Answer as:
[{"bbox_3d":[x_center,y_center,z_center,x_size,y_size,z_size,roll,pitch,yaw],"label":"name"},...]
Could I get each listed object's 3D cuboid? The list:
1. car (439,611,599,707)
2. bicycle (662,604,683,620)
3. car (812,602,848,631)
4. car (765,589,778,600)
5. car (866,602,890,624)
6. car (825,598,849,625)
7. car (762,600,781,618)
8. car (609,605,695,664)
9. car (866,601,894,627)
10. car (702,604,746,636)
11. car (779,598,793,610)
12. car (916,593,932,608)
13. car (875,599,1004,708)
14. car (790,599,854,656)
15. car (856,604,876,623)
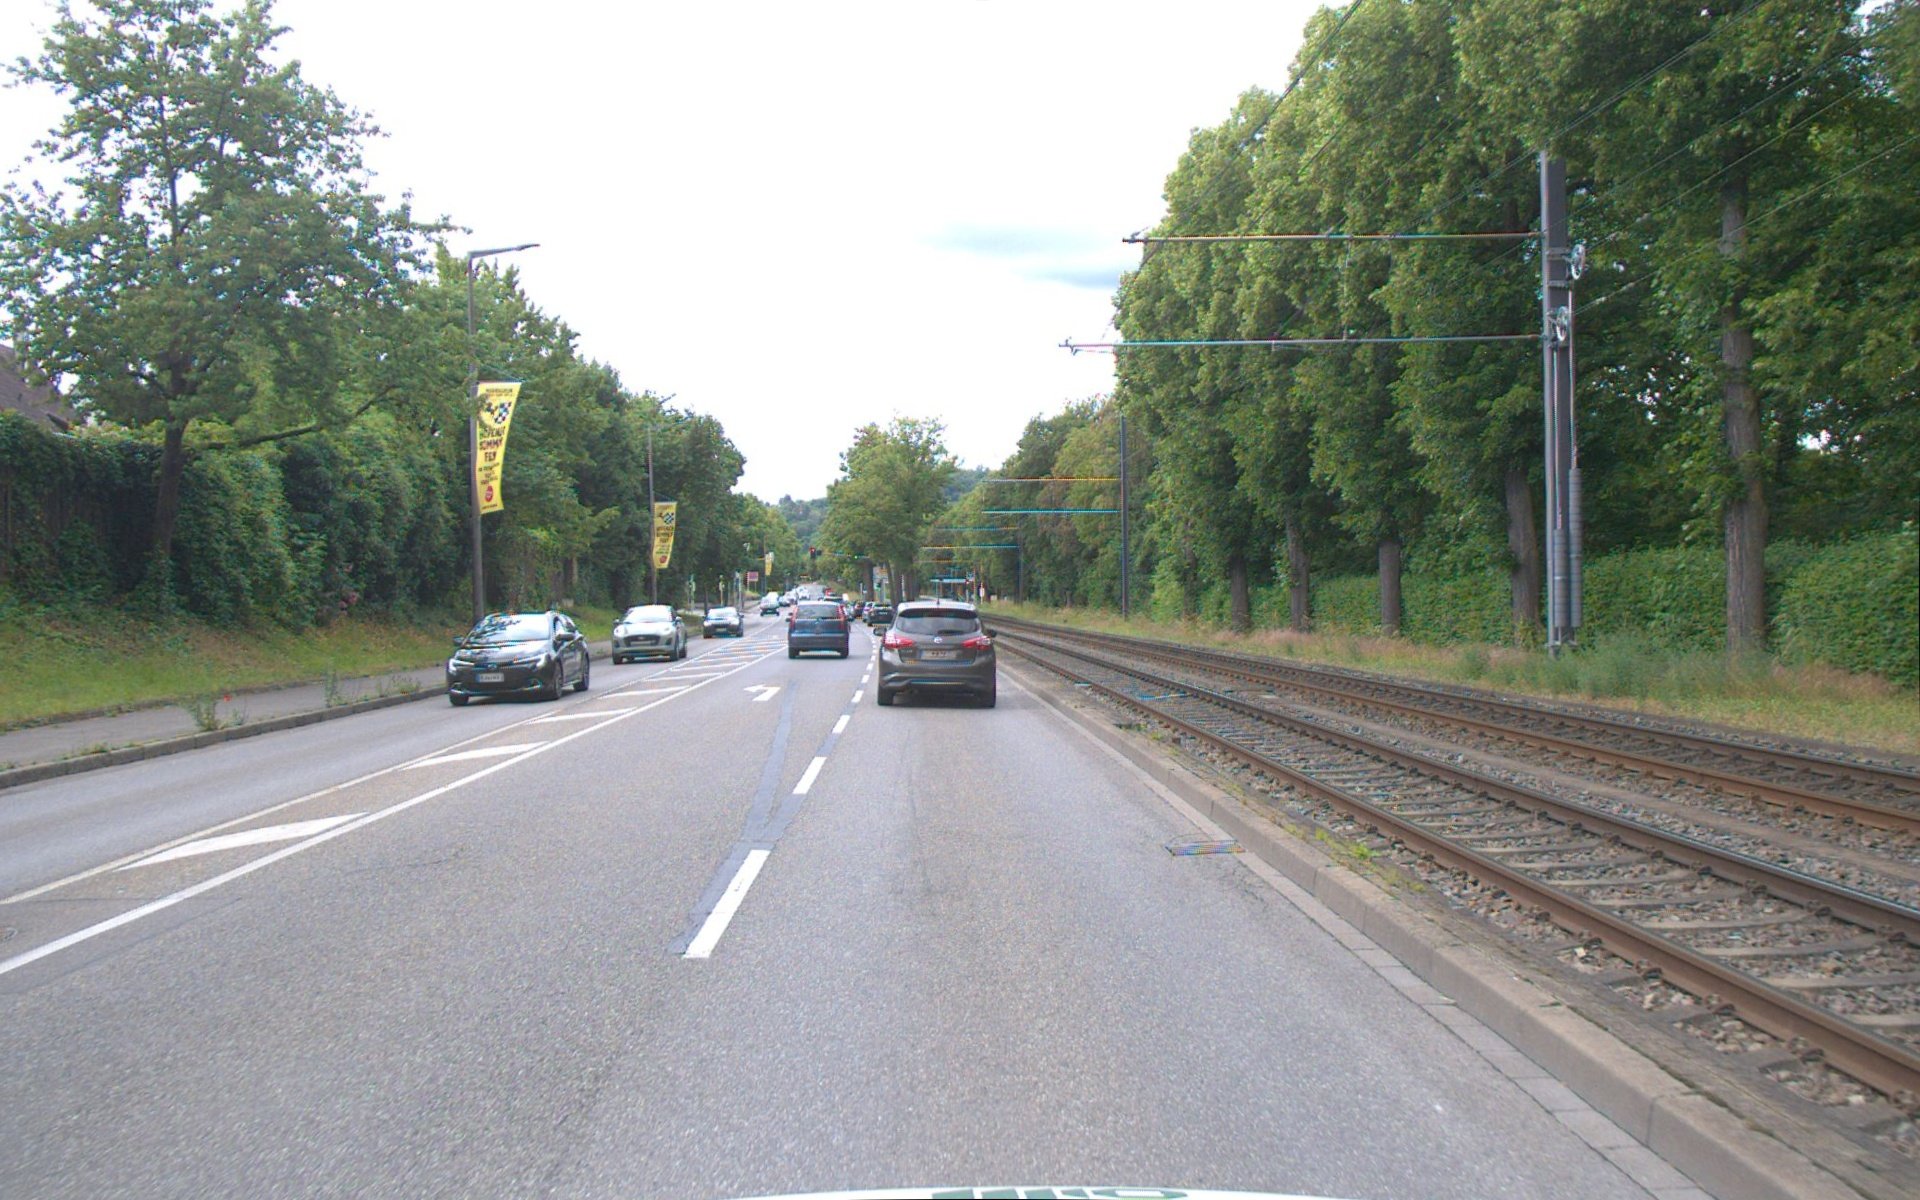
[{"bbox_3d":[-7.404,0.943,28.158,1.731,1.425,4.213,-3,0,-3],"label":"car"},{"bbox_3d":[-21.208,0.880,121.944,0.489,1.127,1.797,0,-1,28],"label":"bicycle"},{"bbox_3d":[-6.641,0.842,84.702,1.681,1.460,3.998,0,0,-2],"label":"car"},{"bbox_3d":[-29.482,-0.839,258.412,1.681,1.577,3.998,0,-1,-2],"label":"car"},{"bbox_3d":[-6.032,0.957,122.404,1.681,1.577,3.998,0,-1,-2],"label":"car"},{"bbox_3d":[-8.759,0.846,118.167,1.681,1.896,3.996,0,-1,-4],"label":"car"},{"bbox_3d":[-18.603,0.894,163.151,1.681,1.791,3.997,0,-1,-4],"label":"car"},{"bbox_3d":[-8.600,0.926,46.463,1.790,1.482,4.140,-3,0,-3],"label":"car"},{"bbox_3d":[-4.990,0.901,103.604,1.681,1.577,3.998,0,-1,-2],"label":"car"},{"bbox_3d":[-11.175,0.946,78.571,1.806,1.400,4.442,-2,0,-6],"label":"car"},{"bbox_3d":[-23.599,0.493,224.608,1.681,1.577,3.998,0,-1,-2],"label":"car"},{"bbox_3d":[-4.293,0.036,197.183,1.681,1.692,3.704,0,-1,-4],"label":"car"},{"bbox_3d":[-0.328,0.762,25.376,1.813,1.519,3.999,1,0,-1],"label":"car"},{"bbox_3d":[-3.711,0.723,44.859,1.666,1.469,3.997,0,0,-4],"label":"car"},{"bbox_3d":[-8.099,1.155,142.808,1.681,1.577,3.998,0,-1,-2],"label":"car"}]
